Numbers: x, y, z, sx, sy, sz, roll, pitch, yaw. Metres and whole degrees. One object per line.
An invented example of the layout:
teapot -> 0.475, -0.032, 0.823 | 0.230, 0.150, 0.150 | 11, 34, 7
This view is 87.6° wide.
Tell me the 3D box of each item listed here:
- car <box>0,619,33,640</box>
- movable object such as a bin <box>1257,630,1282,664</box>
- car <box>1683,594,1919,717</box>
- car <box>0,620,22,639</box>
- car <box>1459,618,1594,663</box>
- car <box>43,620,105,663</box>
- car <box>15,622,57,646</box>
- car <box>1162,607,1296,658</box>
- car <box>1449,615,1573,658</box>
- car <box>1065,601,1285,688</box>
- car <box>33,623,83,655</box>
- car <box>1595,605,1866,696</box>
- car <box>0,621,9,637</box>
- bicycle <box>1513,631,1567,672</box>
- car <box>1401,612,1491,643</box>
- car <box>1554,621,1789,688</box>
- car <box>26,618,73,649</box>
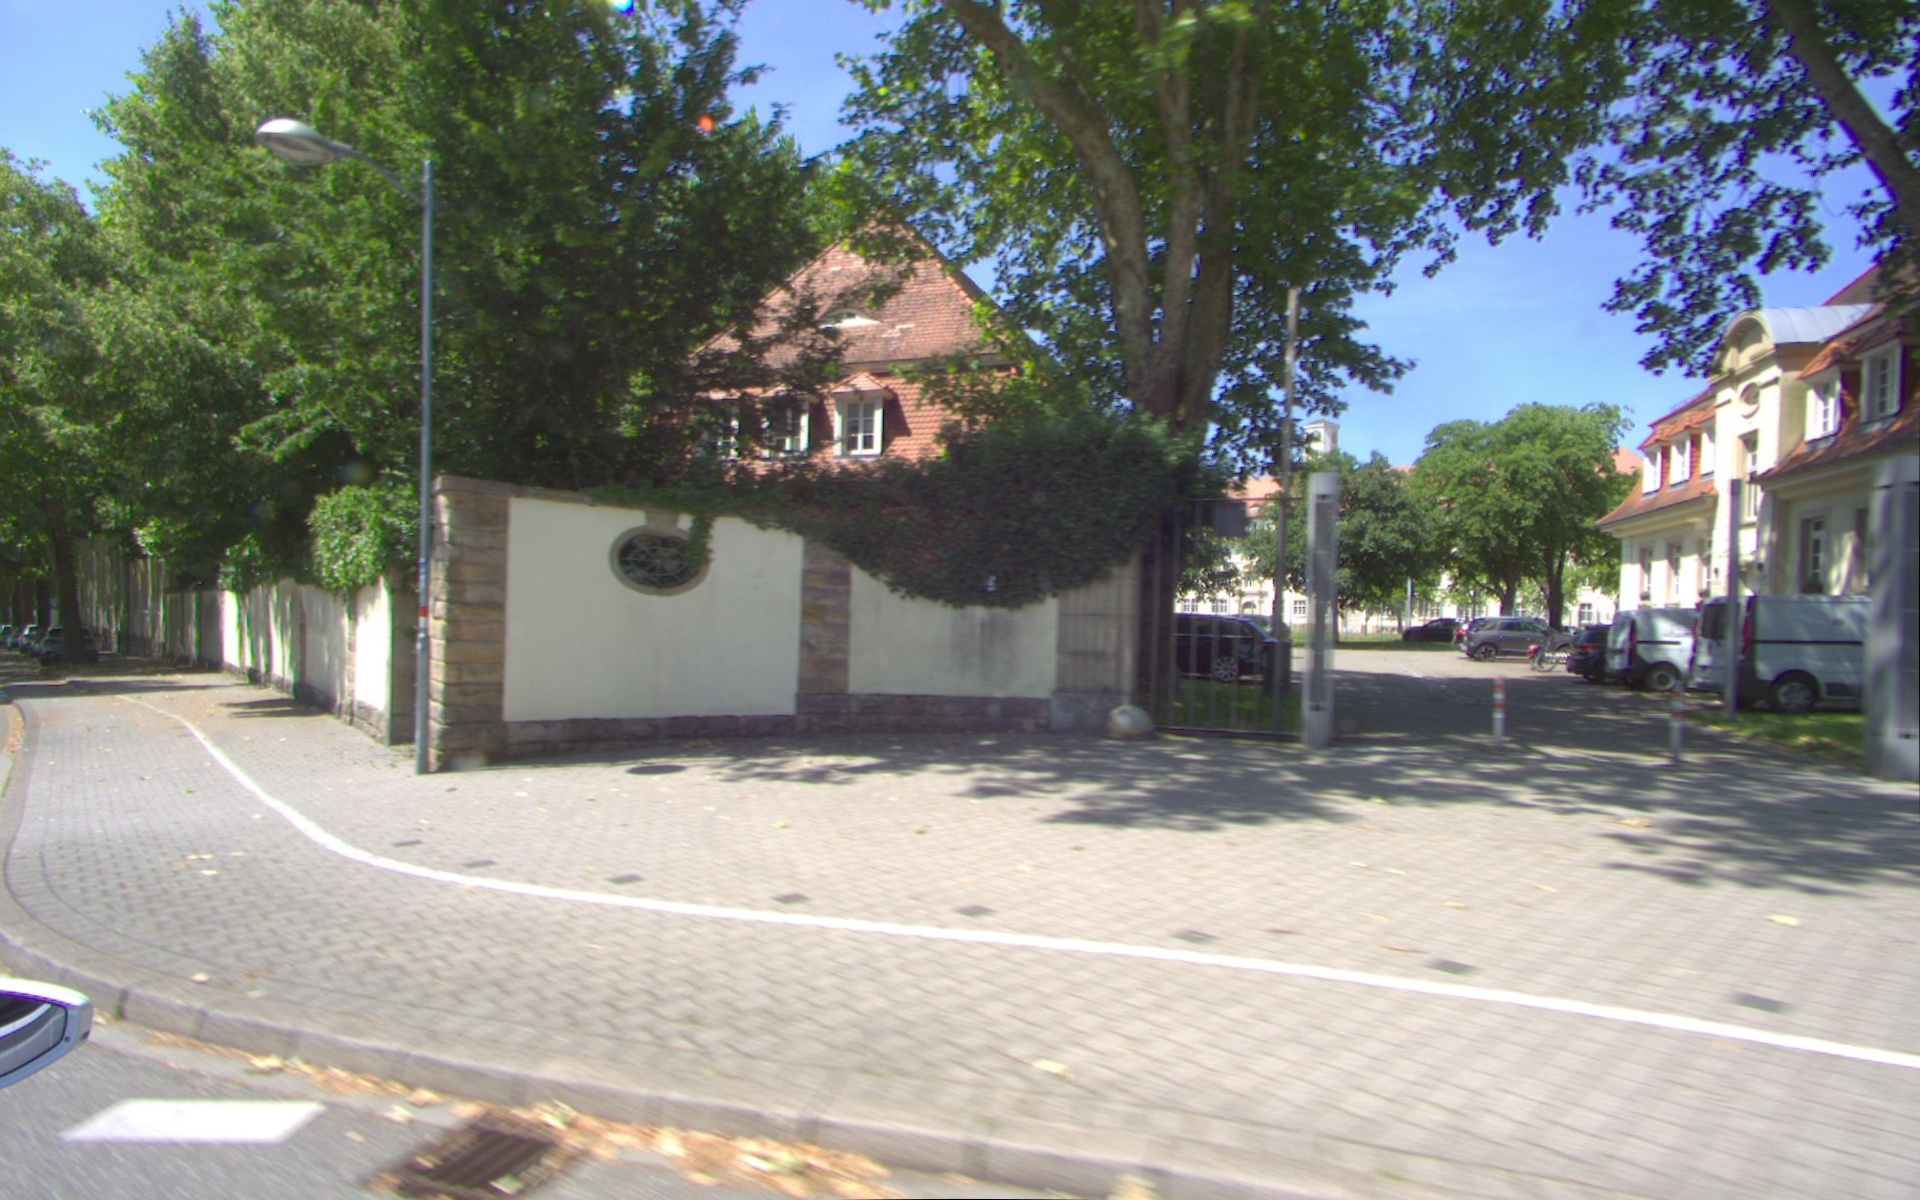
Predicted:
car -> -70.930, 2.196, 75.286 | 3.834, 1.485, 1.568 | -1, 0, 43
movable object such as a bin -> 9.299, 1.413, 30.125 | 0.528, 1.021, 0.527 | 0, 0, -10
car -> 15.147, 0.883, 16.541 | 4.775, 1.911, 1.974 | 0, -1, 15
car -> -79.942, 2.446, 83.873 | 3.834, 1.485, 1.756 | -1, 0, 43
car -> 20.626, 1.451, 36.620 | 4.021, 1.566, 1.808 | -1, -1, 20
car -> -36.672, 1.665, 41.419 | 1.729, 1.578, 4.733 | -1, 1, -44
car -> -60.420, 2.216, 65.449 | 3.834, 1.452, 1.756 | -1, 0, 43
car -> 9.796, 1.150, 36.412 | 4.423, 1.421, 1.996 | 5, 1, 21
car -> 21.518, 1.412, 39.282 | 4.021, 1.633, 1.808 | -1, -1, 20
car -> 4.777, 0.924, 22.172 | 4.423, 1.421, 1.996 | 5, 1, 21
car -> -44.853, 1.914, 49.785 | 4.387, 1.459, 1.611 | -1, 0, 45
car -> 16.496, 1.052, 21.686 | 4.252, 1.835, 1.840 | 0, -1, 15
car -> -86.700, 2.574, 89.744 | 3.686, 1.392, 1.758 | -1, 0, 40
bicycle -> 17.138, 1.517, 29.618 | 0.691, 1.148, 1.989 | 0, -1, 9
car -> 25.859, 1.443, 53.315 | 4.044, 1.565, 1.798 | -1, -1, 40
car -> 17.051, 1.279, 24.249 | 4.253, 1.504, 1.810 | -1, -1, 16
car -> -52.958, 1.902, 58.231 | 4.703, 1.711, 1.796 | -1, 0, 45
